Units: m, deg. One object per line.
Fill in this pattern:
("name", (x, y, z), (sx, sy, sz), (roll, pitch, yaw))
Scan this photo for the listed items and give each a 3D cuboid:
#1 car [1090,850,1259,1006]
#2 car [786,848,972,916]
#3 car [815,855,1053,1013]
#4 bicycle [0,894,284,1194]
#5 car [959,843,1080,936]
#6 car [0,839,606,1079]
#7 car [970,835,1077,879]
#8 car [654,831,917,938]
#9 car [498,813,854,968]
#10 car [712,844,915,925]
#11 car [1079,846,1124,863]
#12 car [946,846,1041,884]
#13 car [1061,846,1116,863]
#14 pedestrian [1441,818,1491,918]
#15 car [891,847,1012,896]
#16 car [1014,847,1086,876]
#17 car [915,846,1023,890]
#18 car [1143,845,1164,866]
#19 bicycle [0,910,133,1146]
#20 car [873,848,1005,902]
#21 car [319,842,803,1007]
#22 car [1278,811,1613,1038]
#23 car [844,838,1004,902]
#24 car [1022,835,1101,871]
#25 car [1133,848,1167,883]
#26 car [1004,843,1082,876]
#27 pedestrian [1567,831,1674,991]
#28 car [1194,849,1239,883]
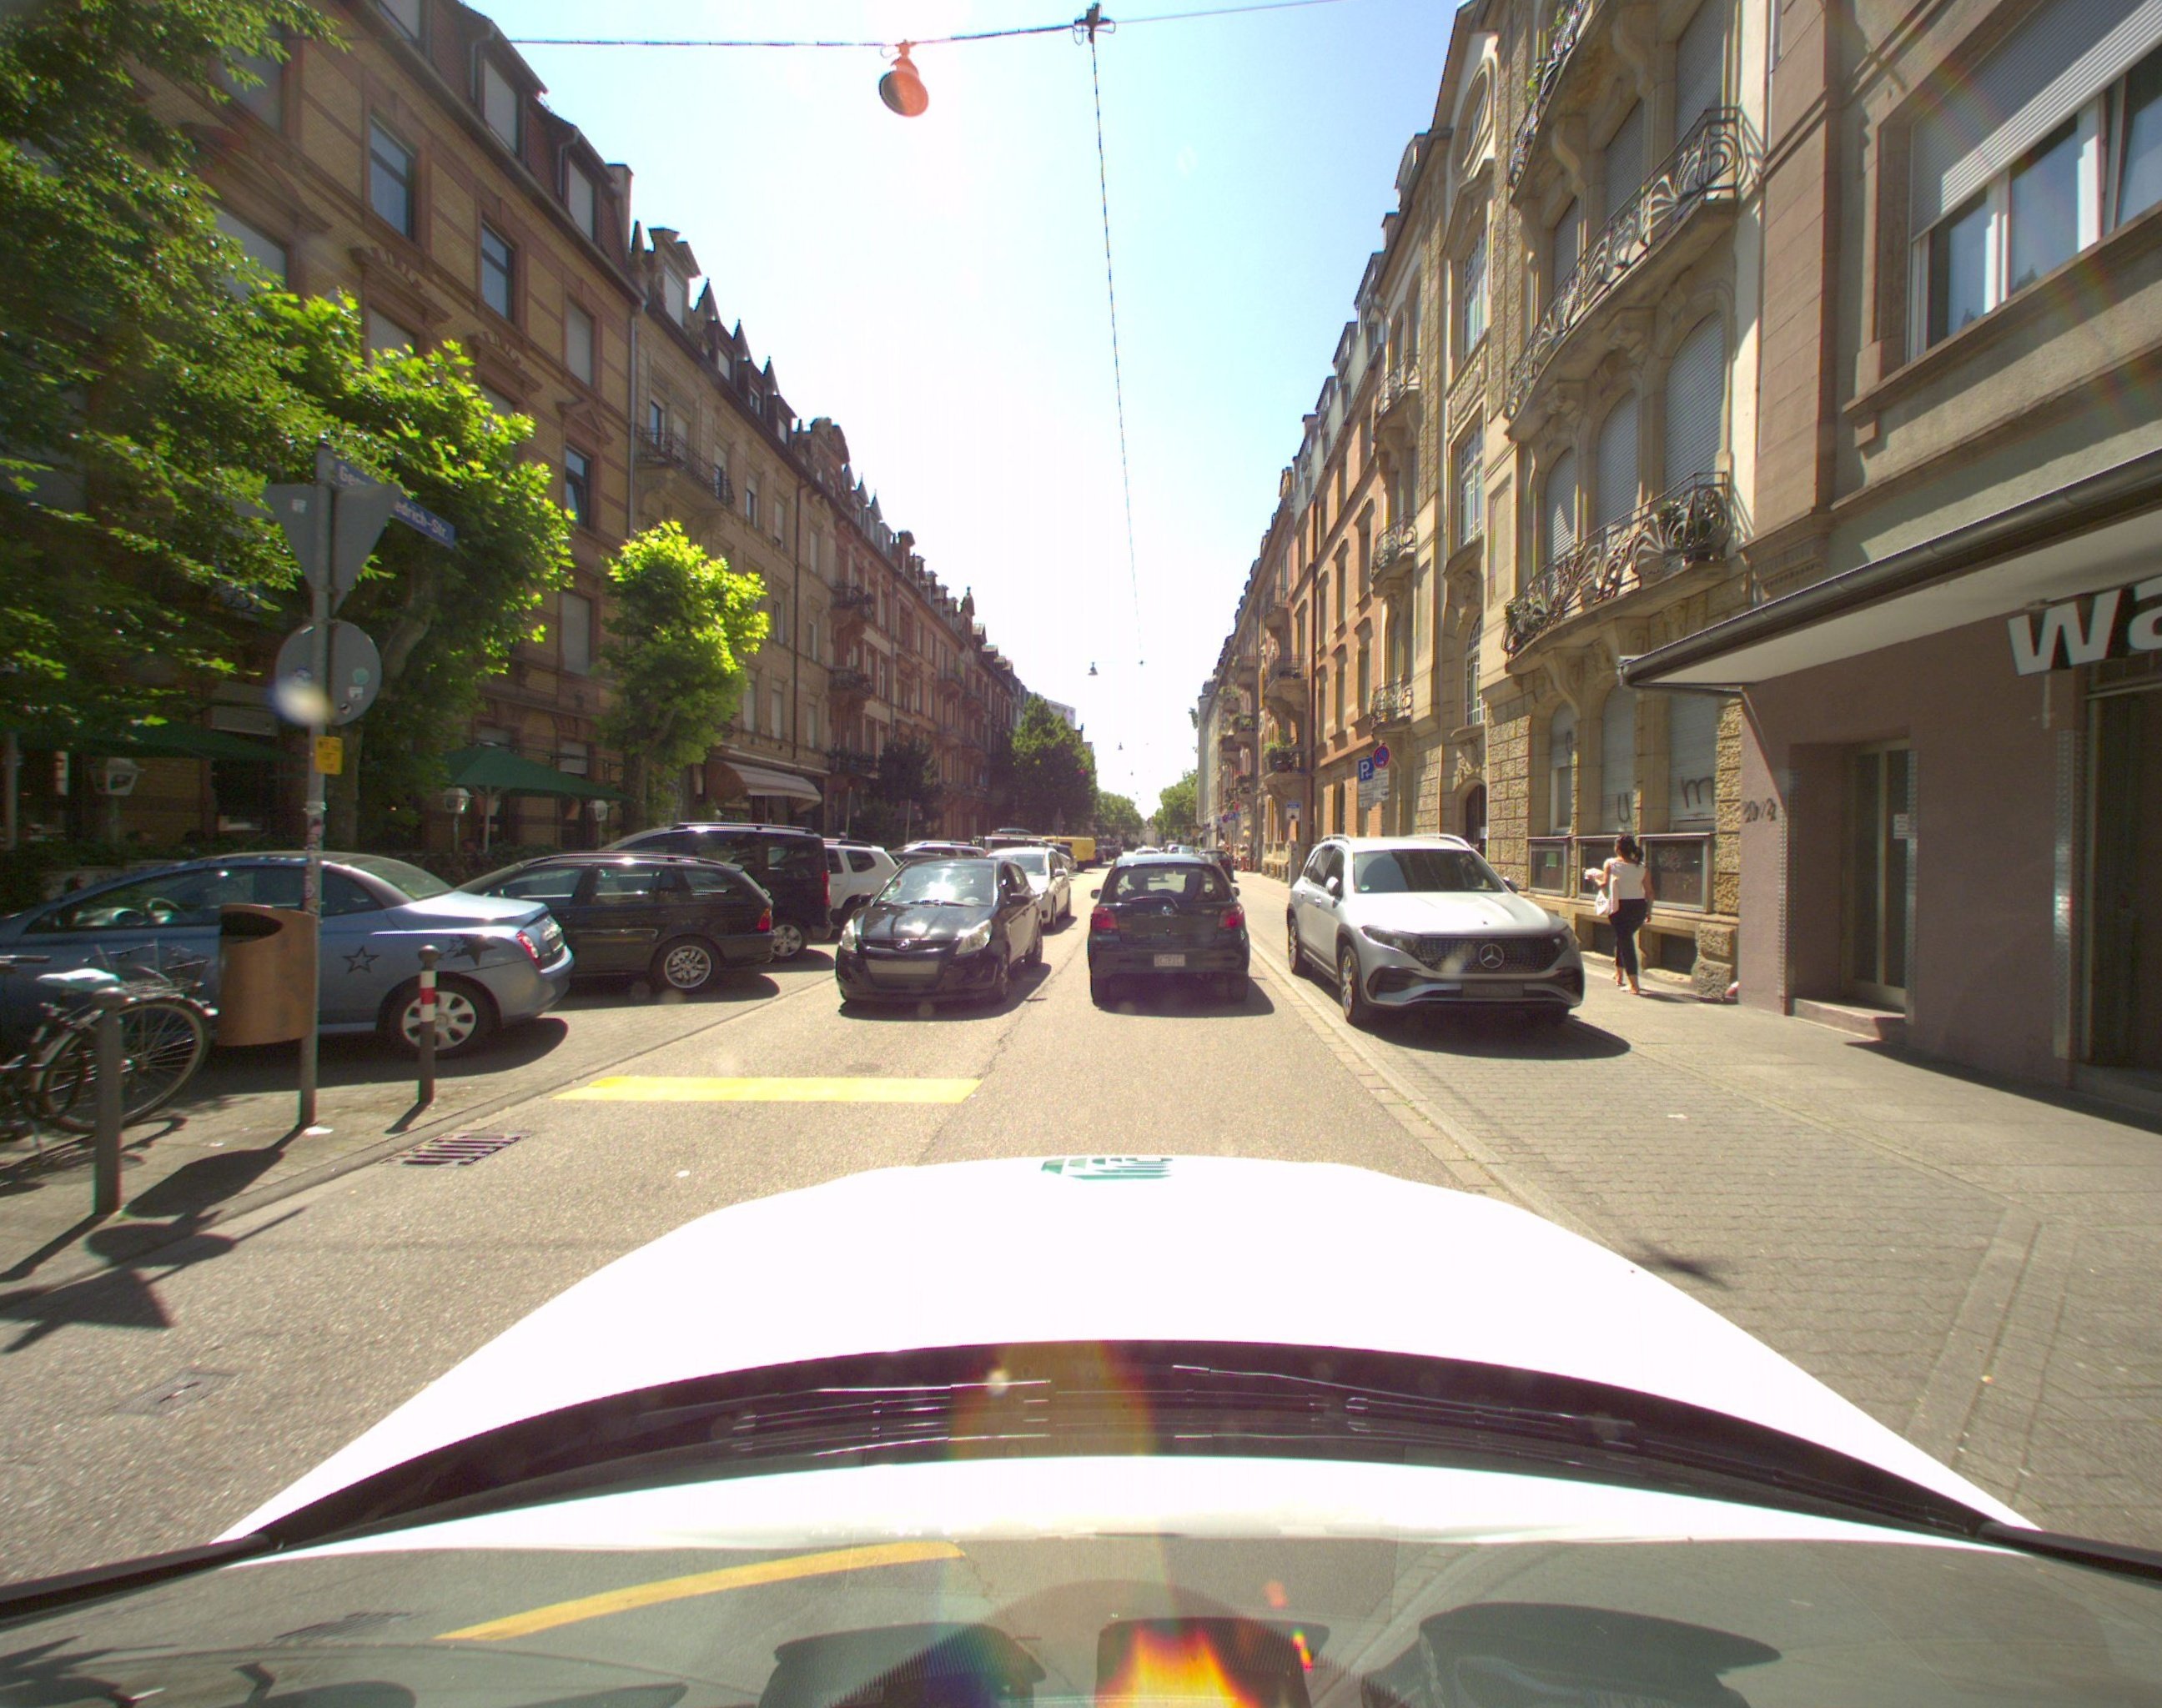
("car", (0.944, 0.708, 9.518), (1.608, 1.485, 3.242), (-1, 0, 1))
("car", (-4.797, 0.615, 19.514), (3.937, 1.470, 1.847), (1, 0, -33))
("car", (-1.461, 0.748, 9.663), (1.746, 1.444, 4.006), (0, 0, 5))
("bicycle", (-4.897, 0.844, 3.978), (0.490, 1.173, 1.680), (2, 0, -8))
("car", (-1.143, 0.647, 17.228), (1.746, 1.645, 4.384), (-2, 0, 5))
("car", (-6.051, 0.664, 6.144), (4.005, 1.375, 1.984), (2, 0, -24))
("car", (-2.793, 0.154, 39.615), (4.795, 1.994, 2.037), (1, 0, -24))
("car", (-5.003, 0.527, 14.193), (3.998, 1.658, 1.749), (2, 0, -18))
("car", (-5.365, 0.469, 11.186), (4.008, 1.804, 1.754), (2, 0, -27))
("car", (-5.313, 0.603, 16.320), (3.632, 1.458, 1.614), (2, 0, -21))
("car", (2.315, 0.054, 90.821), (4.625, 1.726, 1.985), (1, 0, -22))
("car", (-3.925, 0.468, 36.470), (3.921, 1.619, 1.854), (1, 0, -19))
("car", (0.716, 0.064, 73.787), (4.576, 1.428, 1.985), (1, 0, -22))
("pedestrian", (6.943, 0.246, 14.703), (0.511, 1.750, 0.749), (-1, 1, -2))
("car", (-4.567, 0.601, 28.596), (3.921, 1.619, 1.854), (1, 0, -19))
("car", (-1.831, 0.441, 47.637), (3.873, 1.640, 1.774), (1, 0, -19))
("car", (-4.381, 0.530, 31.827), (3.921, 1.619, 1.854), (1, 0, -19))
("car", (5.677, 0.113, 63.860), (1.514, 1.592, 3.270), (1, 1, 7))
("bicycle", (-5.386, 0.866, 3.530), (0.490, 1.081, 1.894), (2, 0, -8))
("car", (-4.557, 0.657, 25.986), (3.921, 1.619, 1.854), (1, 0, -19))
("car", (-5.306, 0.670, 8.931), (4.008, 1.412, 1.954), (2, 0, -27))
("car", (3.321, 0.540, 8.483), (1.862, 1.713, 4.511), (-1, 0, 6))
("car", (-4.331, 0.410, 22.626), (3.939, 1.619, 1.846), (1, 0, -35))
("car", (-1.220, -0.071, 51.561), (4.576, 2.187, 1.985), (1, 0, -22))
("car", (3.221, 0.497, 38.185), (1.515, 1.521, 3.268), (1, 1, 5))
("car", (-2.109, 0.305, 44.833), (3.921, 1.708, 1.854), (1, 0, -19))
("pedestrian", (5.741, 0.574, 8.702), (0.638, 1.623, 0.805), (1, 0, 5))
("car", (6.071, 0.490, 36.764), (1.746, 1.429, 4.006), (0, 0, 5))
